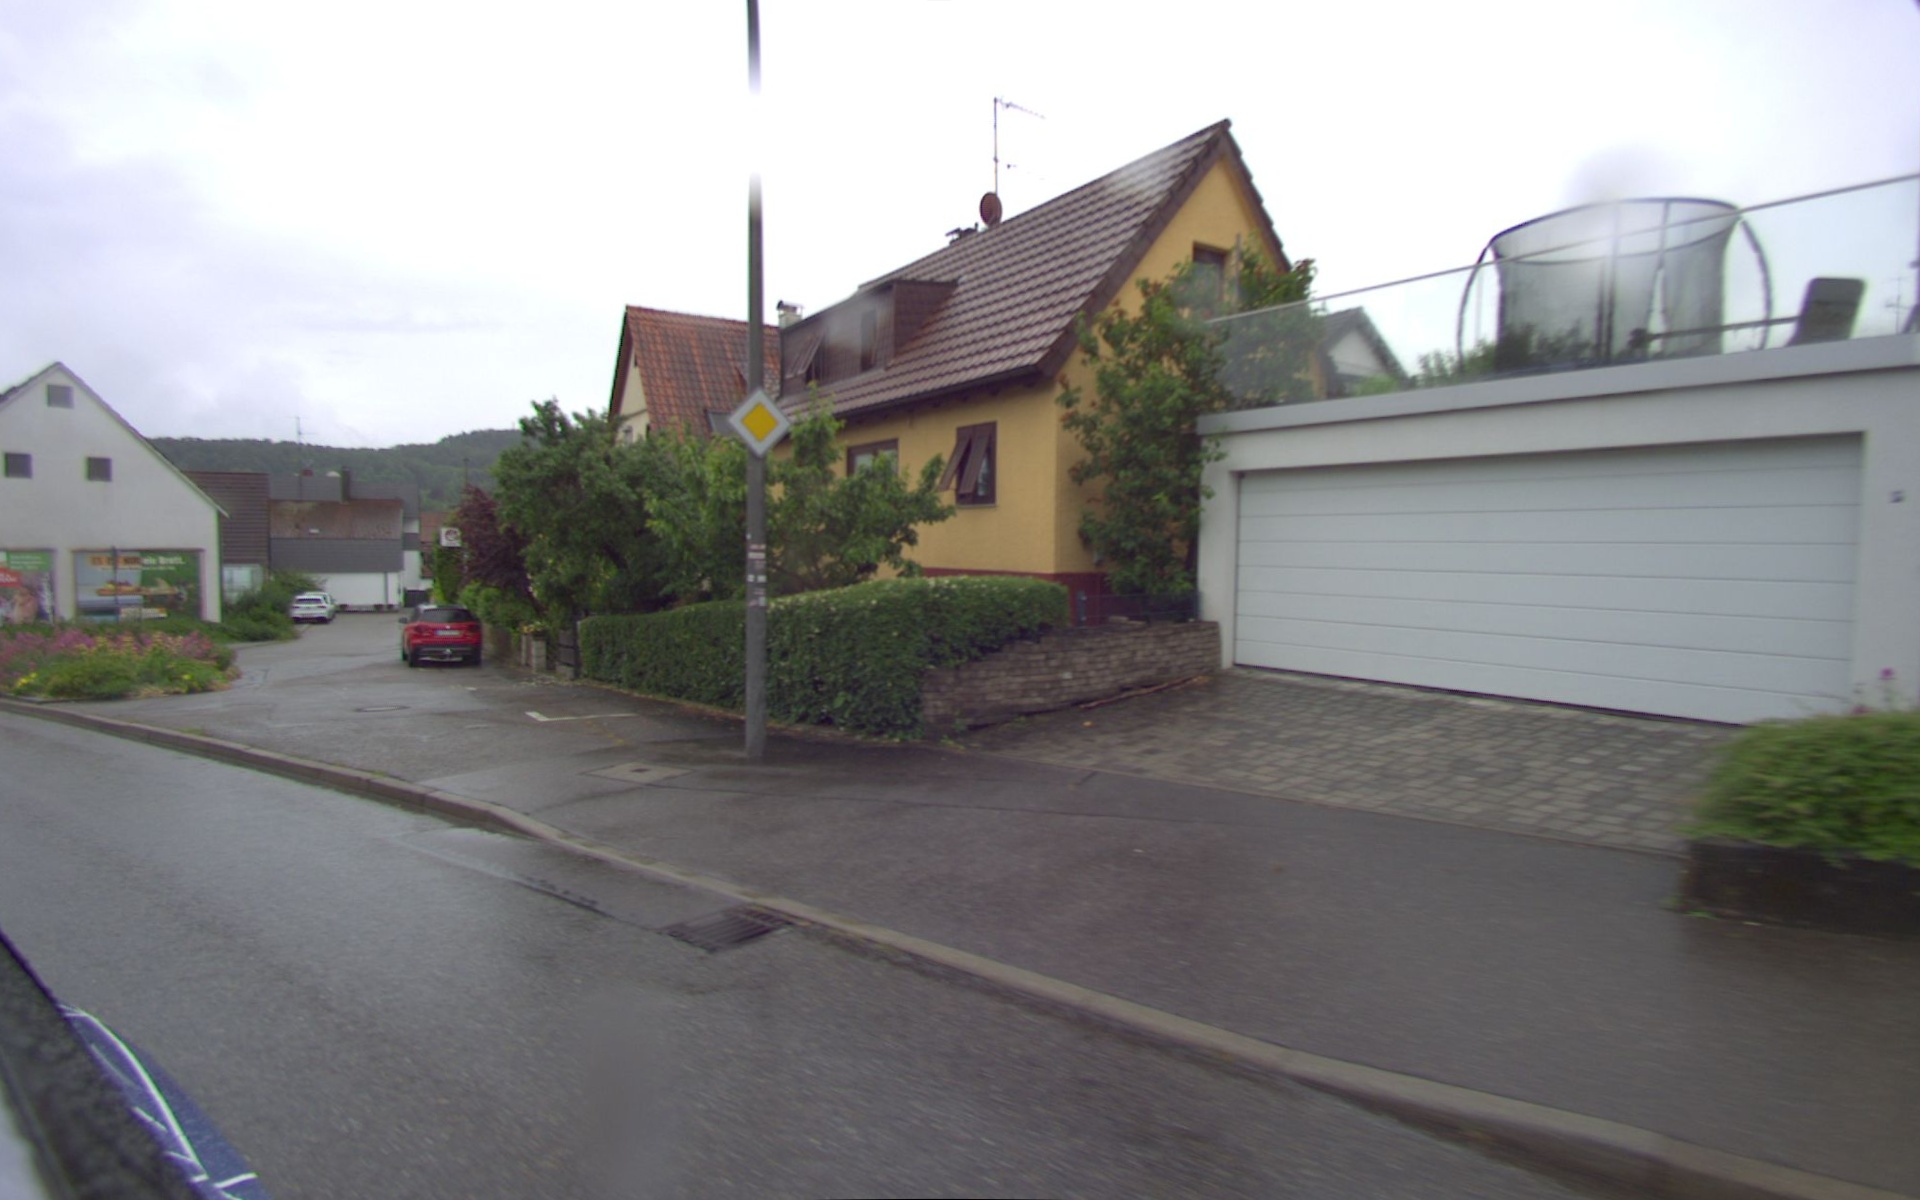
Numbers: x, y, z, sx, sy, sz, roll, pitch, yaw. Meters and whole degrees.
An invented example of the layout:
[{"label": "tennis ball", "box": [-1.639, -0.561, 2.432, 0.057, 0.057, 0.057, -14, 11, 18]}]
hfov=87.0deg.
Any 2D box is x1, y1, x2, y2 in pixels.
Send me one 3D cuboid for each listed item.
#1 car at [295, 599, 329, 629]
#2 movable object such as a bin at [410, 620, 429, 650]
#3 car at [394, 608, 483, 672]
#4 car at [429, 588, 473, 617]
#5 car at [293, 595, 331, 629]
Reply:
[{"label": "car", "box": [-33.971, 0.709, 53.082, 1.394, 1.439, 3.503, -1, 2, -32]}, {"label": "movable object such as a bin", "box": [-19.308, 1.251, 36.116, 0.569, 1.053, 0.653, -1, 0, -29]}, {"label": "car", "box": [-14.257, 1.022, 27.561, 1.725, 1.574, 4.030, -1, 0, -33]}, {"label": "car", "box": [-28.092, 0.153, 55.777, 1.700, 1.504, 3.980, -1, 0, -33]}, {"label": "car", "box": [-37.180, 0.684, 58.114, 1.729, 1.903, 3.751, -1, 0, -32]}]
